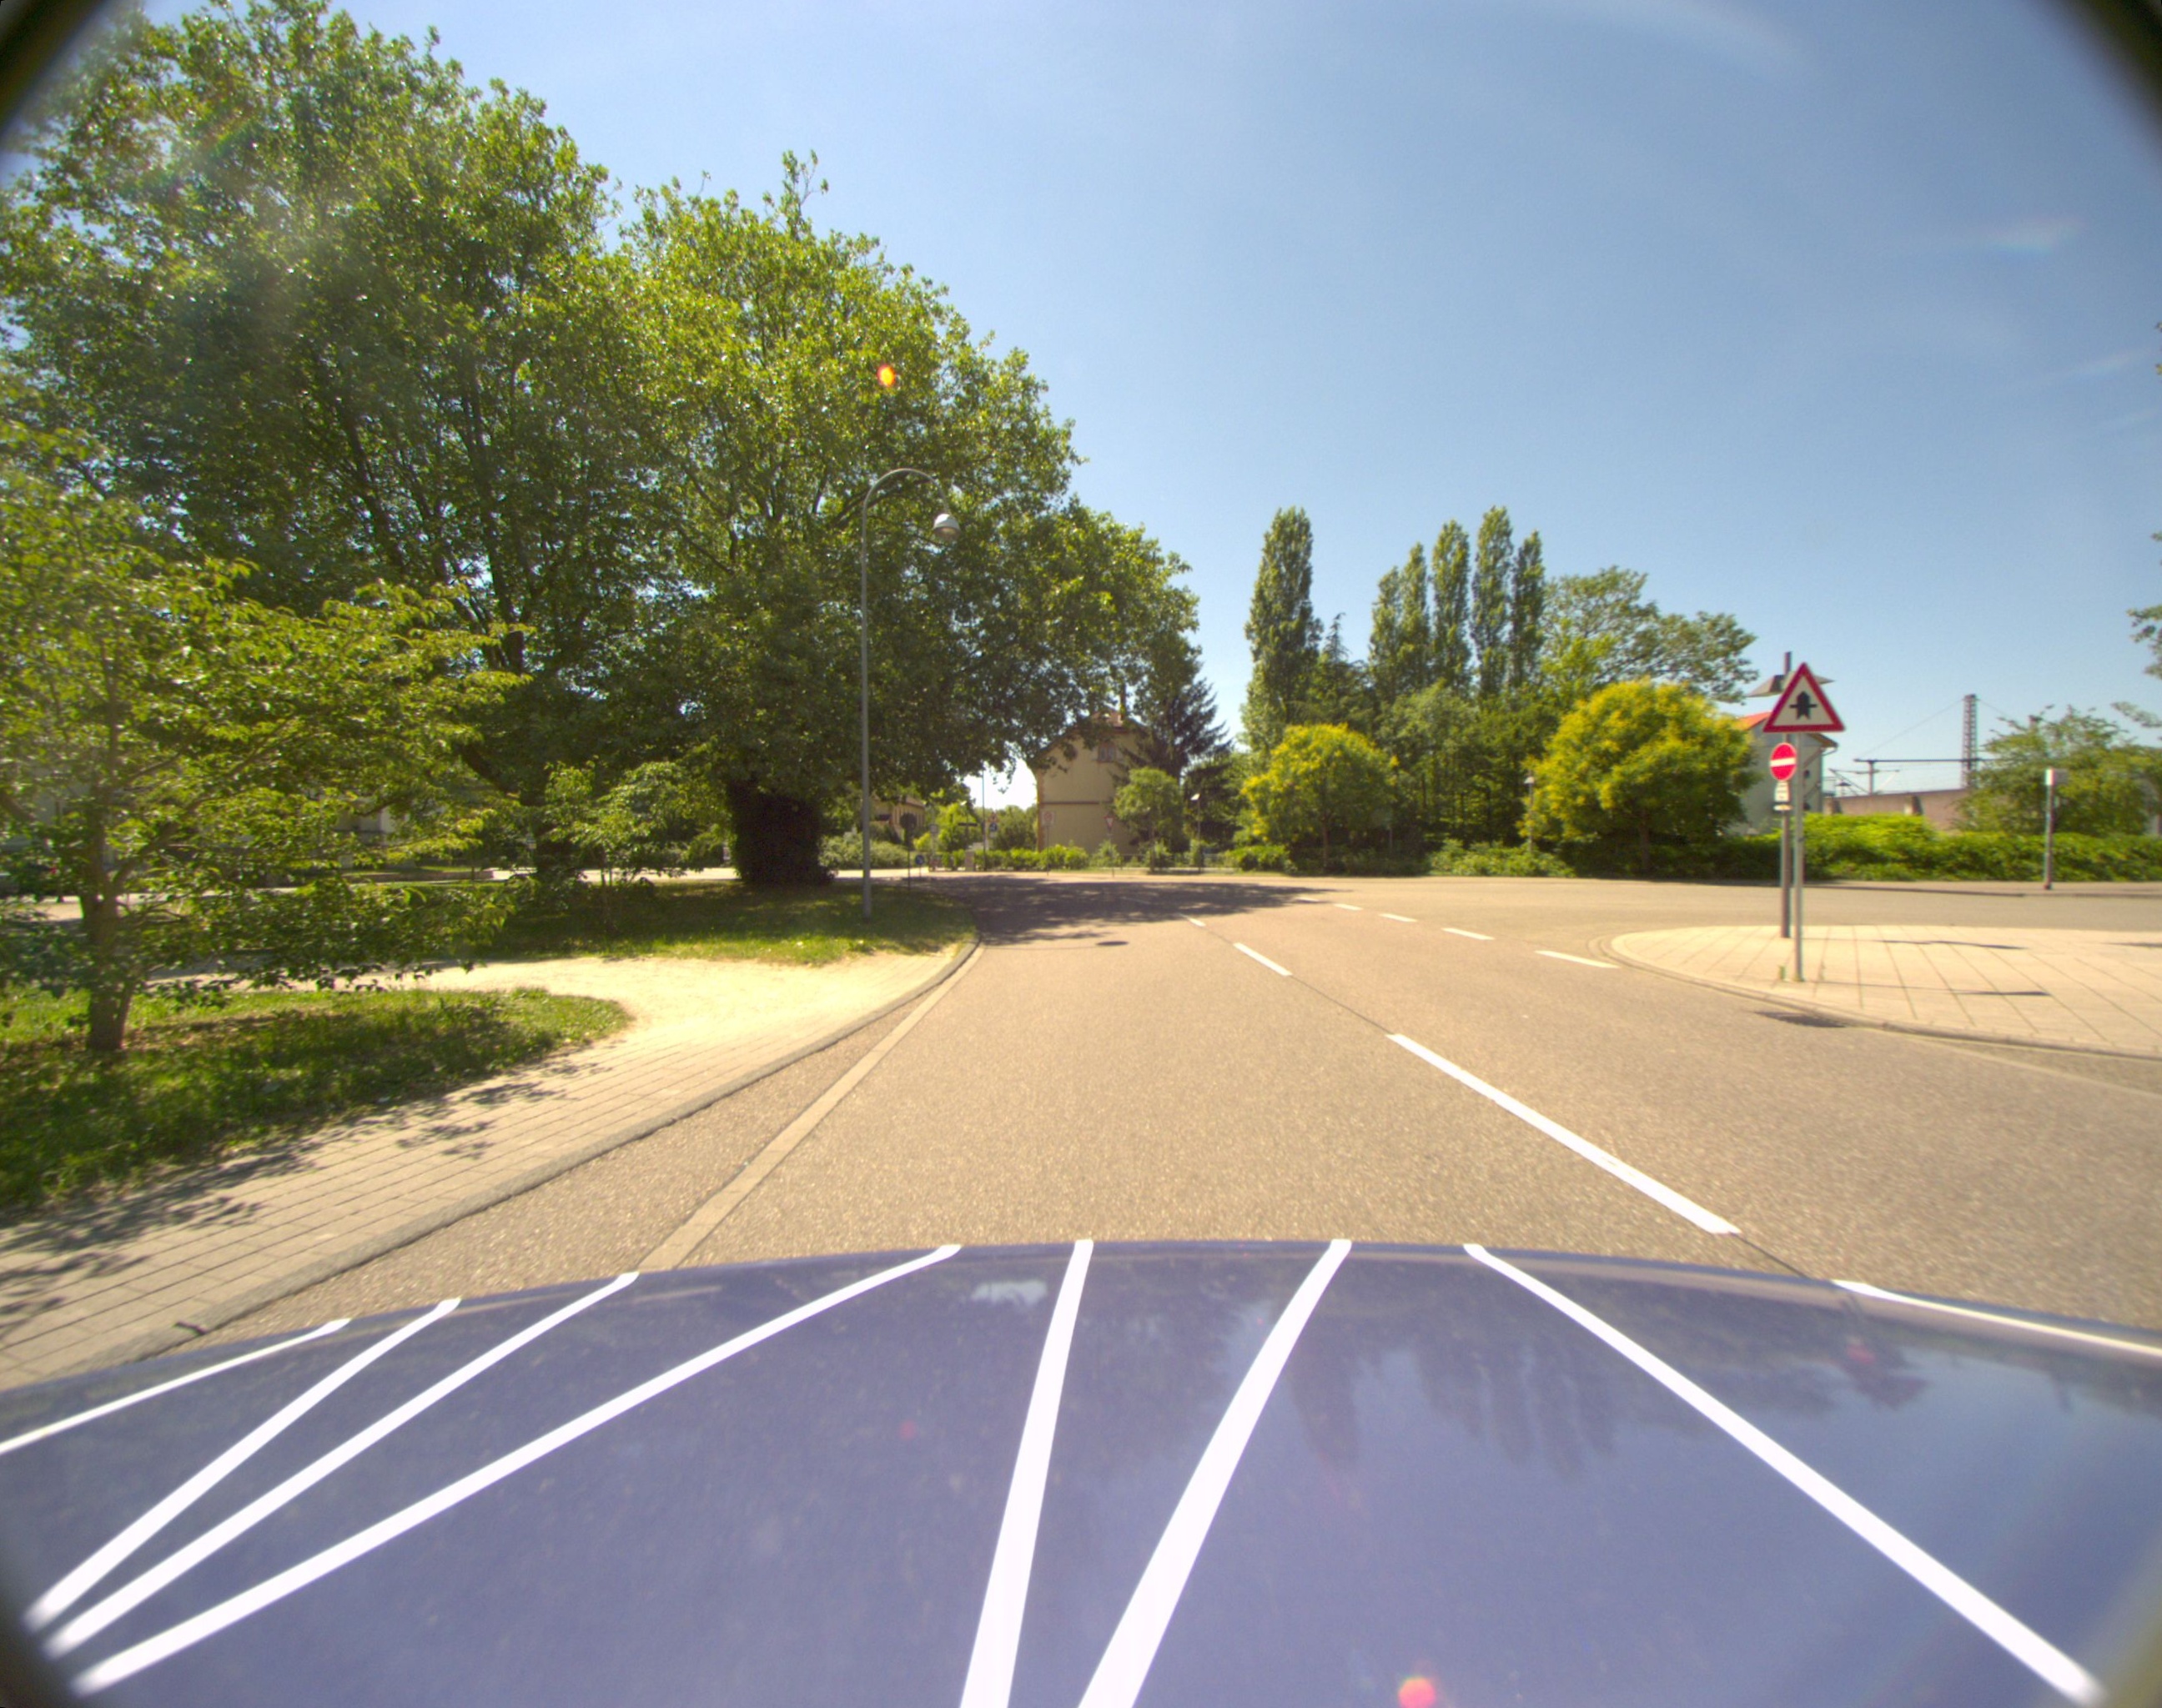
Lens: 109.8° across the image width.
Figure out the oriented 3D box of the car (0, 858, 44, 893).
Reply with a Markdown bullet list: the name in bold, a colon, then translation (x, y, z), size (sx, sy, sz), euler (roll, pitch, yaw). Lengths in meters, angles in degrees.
- **car**: translation (-45.405, 0.881, 31.192), size (3.992, 1.383, 2.002), euler (0, 1, 15)
